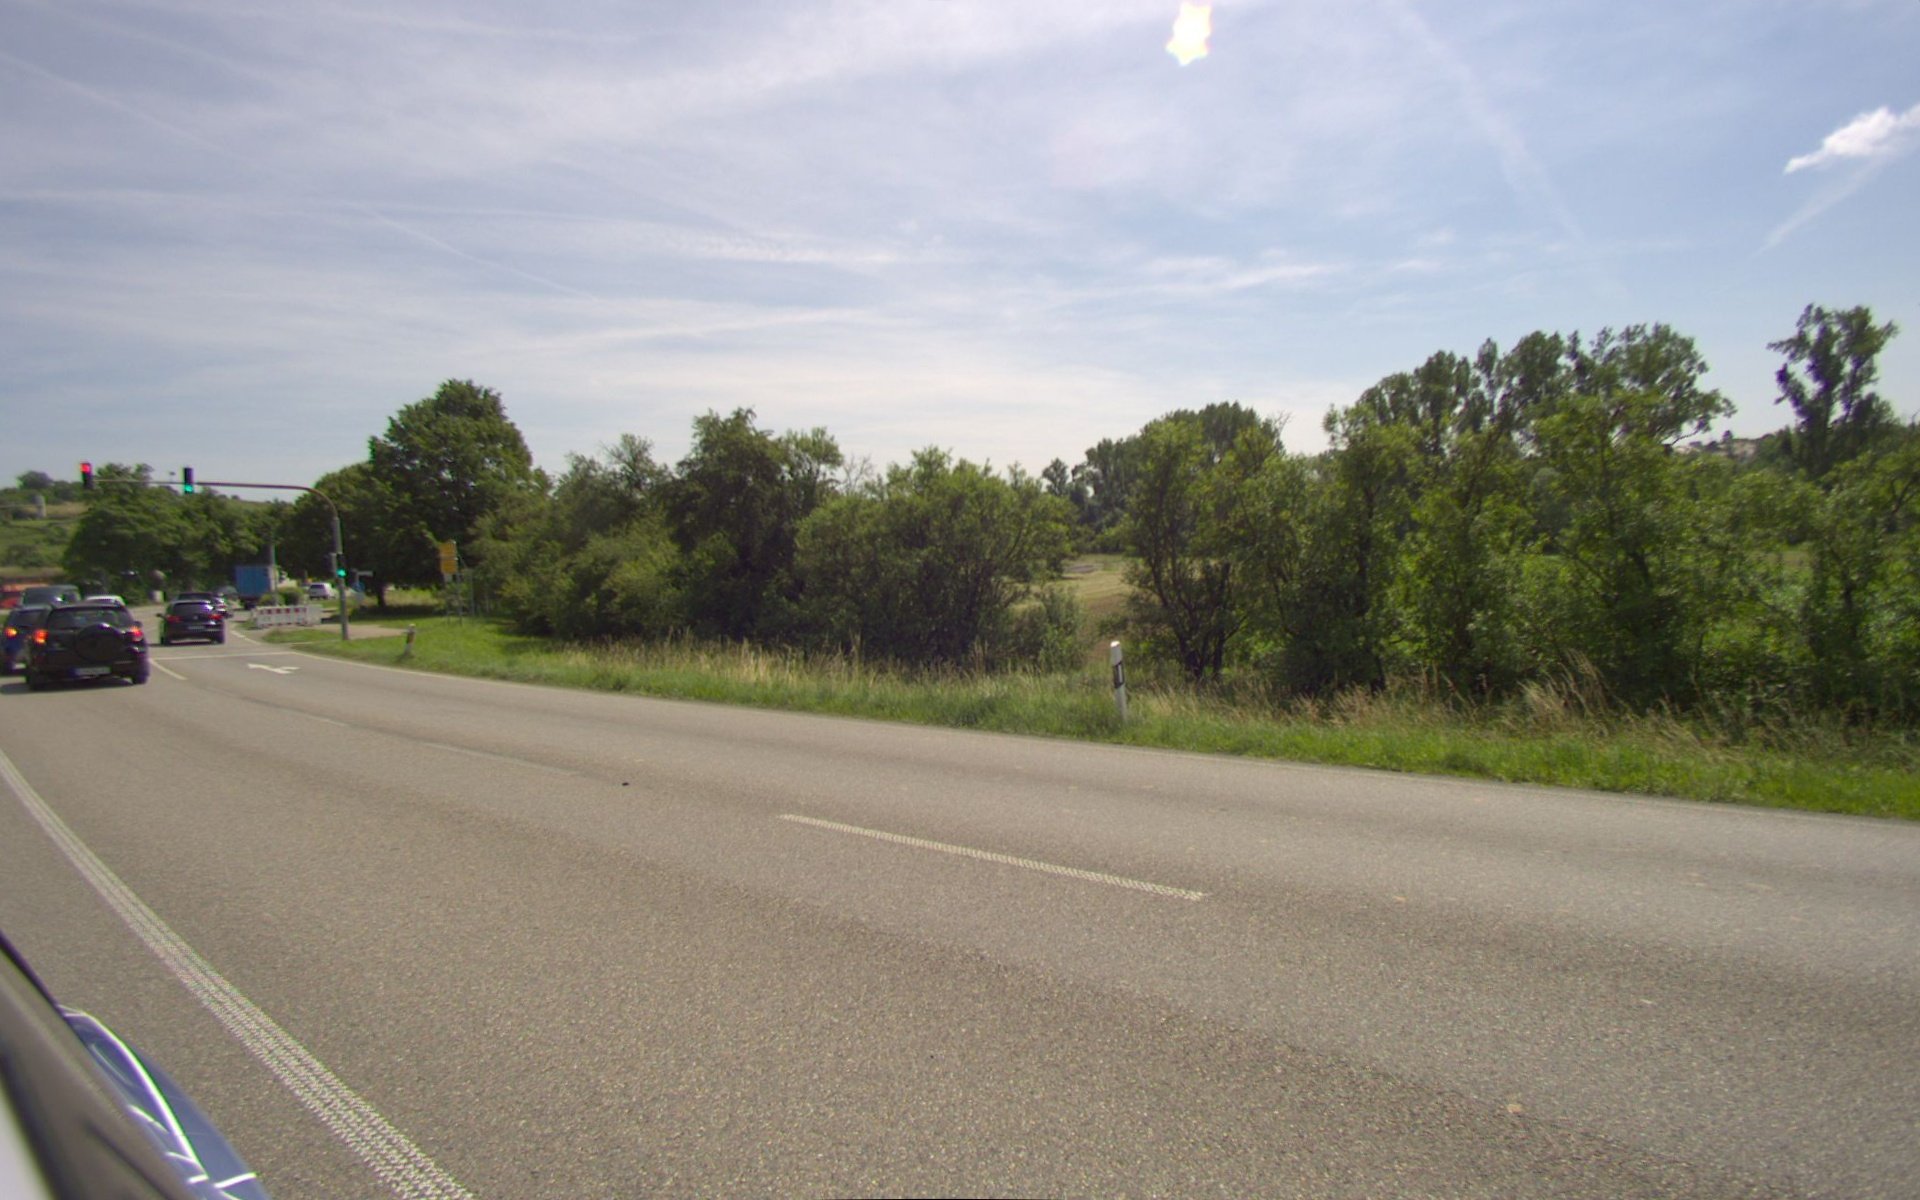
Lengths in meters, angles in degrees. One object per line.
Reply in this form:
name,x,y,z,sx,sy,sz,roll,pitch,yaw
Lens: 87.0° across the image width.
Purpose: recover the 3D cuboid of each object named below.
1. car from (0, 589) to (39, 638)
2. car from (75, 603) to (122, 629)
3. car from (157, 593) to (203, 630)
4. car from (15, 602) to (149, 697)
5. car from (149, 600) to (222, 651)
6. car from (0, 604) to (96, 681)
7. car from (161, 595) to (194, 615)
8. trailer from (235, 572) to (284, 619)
car,-52.046,0.711,55.620,1.952,2.537,4.163,-3,3,-42
car,-58.492,1.056,68.804,1.754,1.504,4.170,-2,3,-31
car,-45.869,0.633,59.581,1.968,2.021,5.176,-2,2,-36
car,-17.833,0.915,20.503,1.751,1.671,4.002,-2,2,-45
car,-28.933,0.897,37.913,1.967,1.708,4.010,-1,1,-35
car,-22.538,0.958,24.831,1.751,1.671,4.003,-2,2,-44
car,-72.717,0.466,94.142,1.779,1.745,4.012,-3,1,-29
trailer,-64.836,-0.410,93.883,2.531,4.060,13.636,-2,1,-30
